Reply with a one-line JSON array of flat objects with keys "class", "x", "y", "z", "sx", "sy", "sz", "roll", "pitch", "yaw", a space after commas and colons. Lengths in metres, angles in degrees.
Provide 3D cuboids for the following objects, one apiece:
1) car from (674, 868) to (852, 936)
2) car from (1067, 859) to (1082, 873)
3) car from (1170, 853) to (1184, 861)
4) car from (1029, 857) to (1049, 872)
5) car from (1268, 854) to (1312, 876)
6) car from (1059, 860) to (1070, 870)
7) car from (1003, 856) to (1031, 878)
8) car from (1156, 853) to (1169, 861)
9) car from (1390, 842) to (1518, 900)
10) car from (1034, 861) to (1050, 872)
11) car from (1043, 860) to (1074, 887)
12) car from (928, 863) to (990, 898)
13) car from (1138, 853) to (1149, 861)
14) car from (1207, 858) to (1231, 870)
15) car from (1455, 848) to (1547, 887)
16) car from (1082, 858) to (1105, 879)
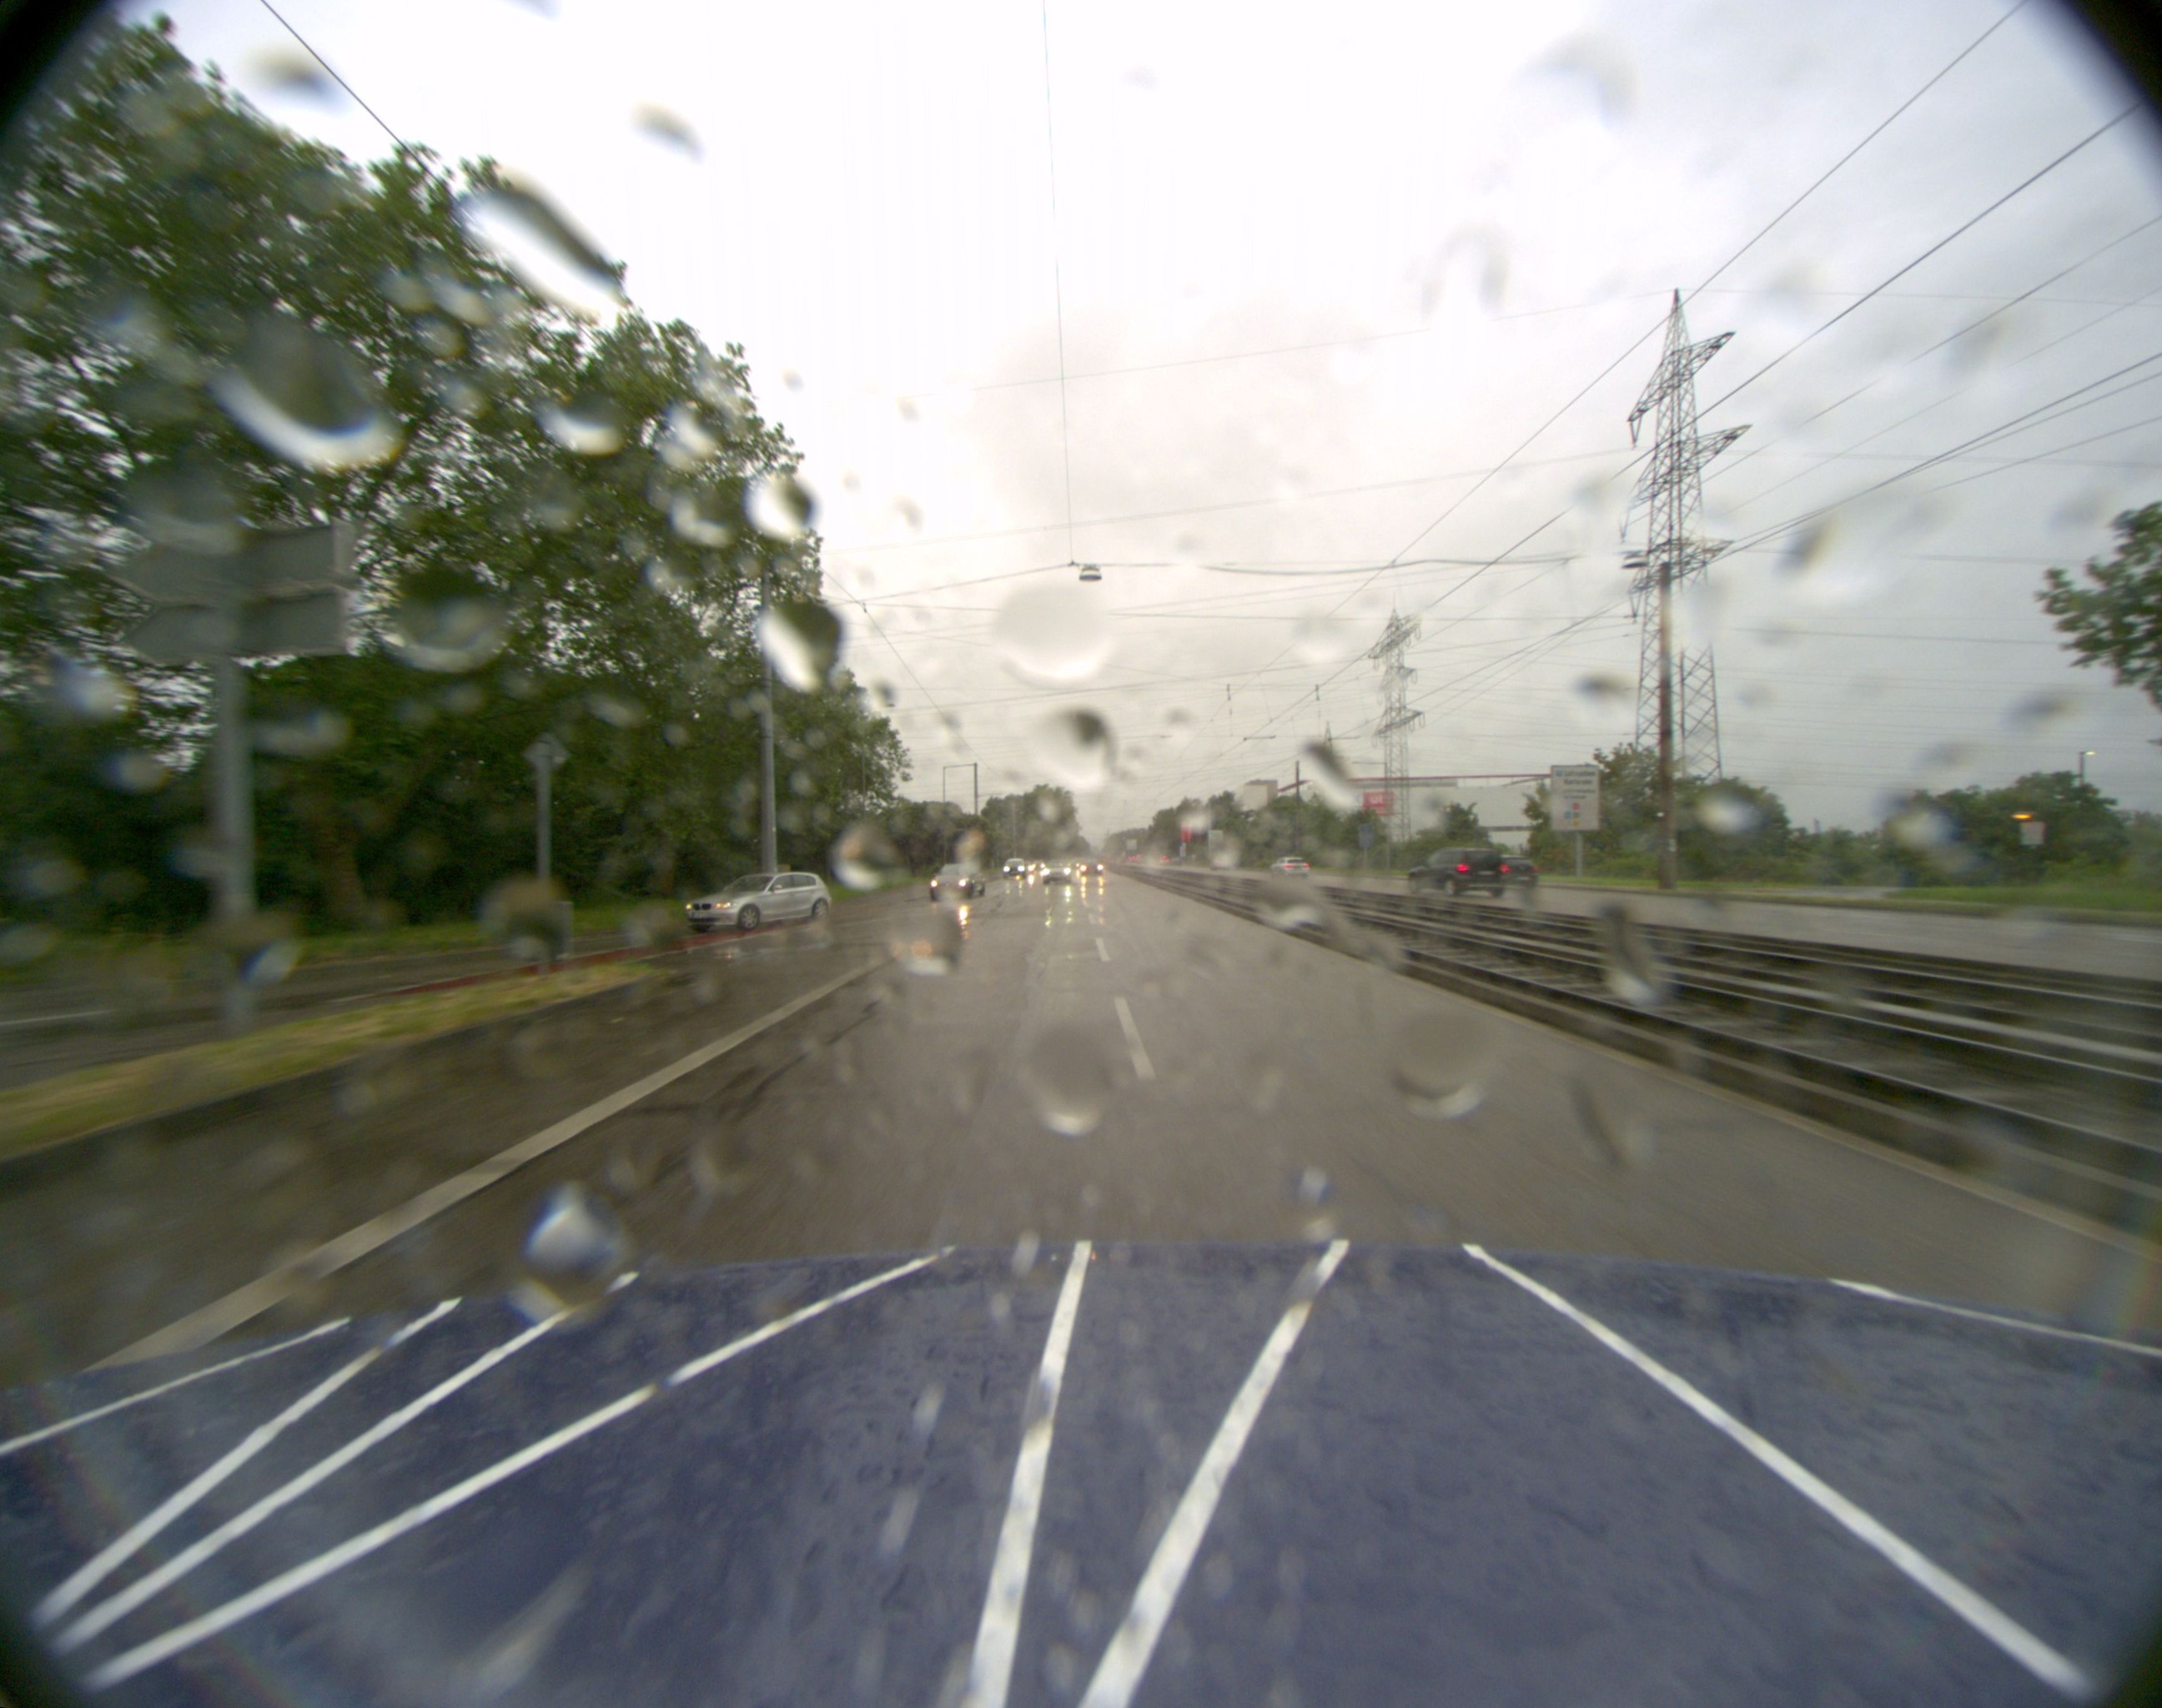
[{"class": "car", "x": -8.283, "y": 1.205, "z": 20.300, "sx": 1.628, "sy": 1.494, "sz": 4.613, "roll": -3, "pitch": -1, "yaw": 20}, {"class": "car", "x": -0.824, "y": 1.549, "z": 100.353, "sx": 1.816, "sy": 1.692, "sz": 4.000, "roll": -2, "pitch": -1, "yaw": 1}, {"class": "car", "x": 17.023, "y": 0.577, "z": 134.381, "sx": 1.998, "sy": 1.455, "sz": 5.252, "roll": 1, "pitch": -1, "yaw": 2}, {"class": "car", "x": -4.251, "y": 1.057, "z": 77.236, "sx": 1.784, "sy": 1.419, "sz": 4.001, "roll": -2, "pitch": -1, "yaw": 1}, {"class": "car", "x": 14.460, "y": 0.758, "z": 52.749, "sx": 1.746, "sy": 1.346, "sz": 4.546, "roll": -2, "pitch": -1, "yaw": 0}, {"class": "car", "x": -2.760, "y": 1.905, "z": 126.626, "sx": 1.846, "sy": 1.572, "sz": 3.838, "roll": -2, "pitch": -1, "yaw": -1}, {"class": "car", "x": -5.253, "y": 1.040, "z": 62.994, "sx": 1.797, "sy": 1.692, "sz": 4.764, "roll": -2, "pitch": -1, "yaw": 1}, {"class": "car", "x": 16.108, "y": 0.654, "z": 150.835, "sx": 1.847, "sy": 1.564, "sz": 5.066, "roll": -2, "pitch": -1, "yaw": -1}, {"class": "car", "x": 13.018, "y": 0.585, "z": 26.944, "sx": 1.892, "sy": 1.798, "sz": 5.004, "roll": -2, "pitch": -1, "yaw": -2}, {"class": "car", "x": -5.199, "y": 1.676, "z": 101.046, "sx": 1.784, "sy": 1.419, "sz": 4.001, "roll": -2, "pitch": -1, "yaw": 1}, {"class": "car", "x": -1.383, "y": 1.174, "z": 47.011, "sx": 1.807, "sy": 1.521, "sz": 3.645, "roll": -2, "pitch": -1, "yaw": -1}, {"class": "car", "x": -5.198, "y": 1.086, "z": 32.931, "sx": 1.892, "sy": 1.349, "sz": 4.277, "roll": -2, "pitch": -1, "yaw": 1}, {"class": "car", "x": 14.040, "y": 0.665, "z": 170.424, "sx": 1.830, "sy": 1.625, "sz": 5.136, "roll": -2, "pitch": -1, "yaw": -1}, {"class": "car", "x": 16.063, "y": 1.178, "z": 88.527, "sx": 1.762, "sy": 1.354, "sz": 5.071, "roll": -2, "pitch": -1, "yaw": 0}, {"class": "car", "x": 18.298, "y": 0.570, "z": 33.331, "sx": 1.693, "sy": 1.542, "sz": 4.000, "roll": -2, "pitch": -1, "yaw": -1}, {"class": "car", "x": 1.070, "y": 1.232, "z": 64.222, "sx": 1.816, "sy": 1.692, "sz": 4.001, "roll": -2, "pitch": -1, "yaw": 1}]
